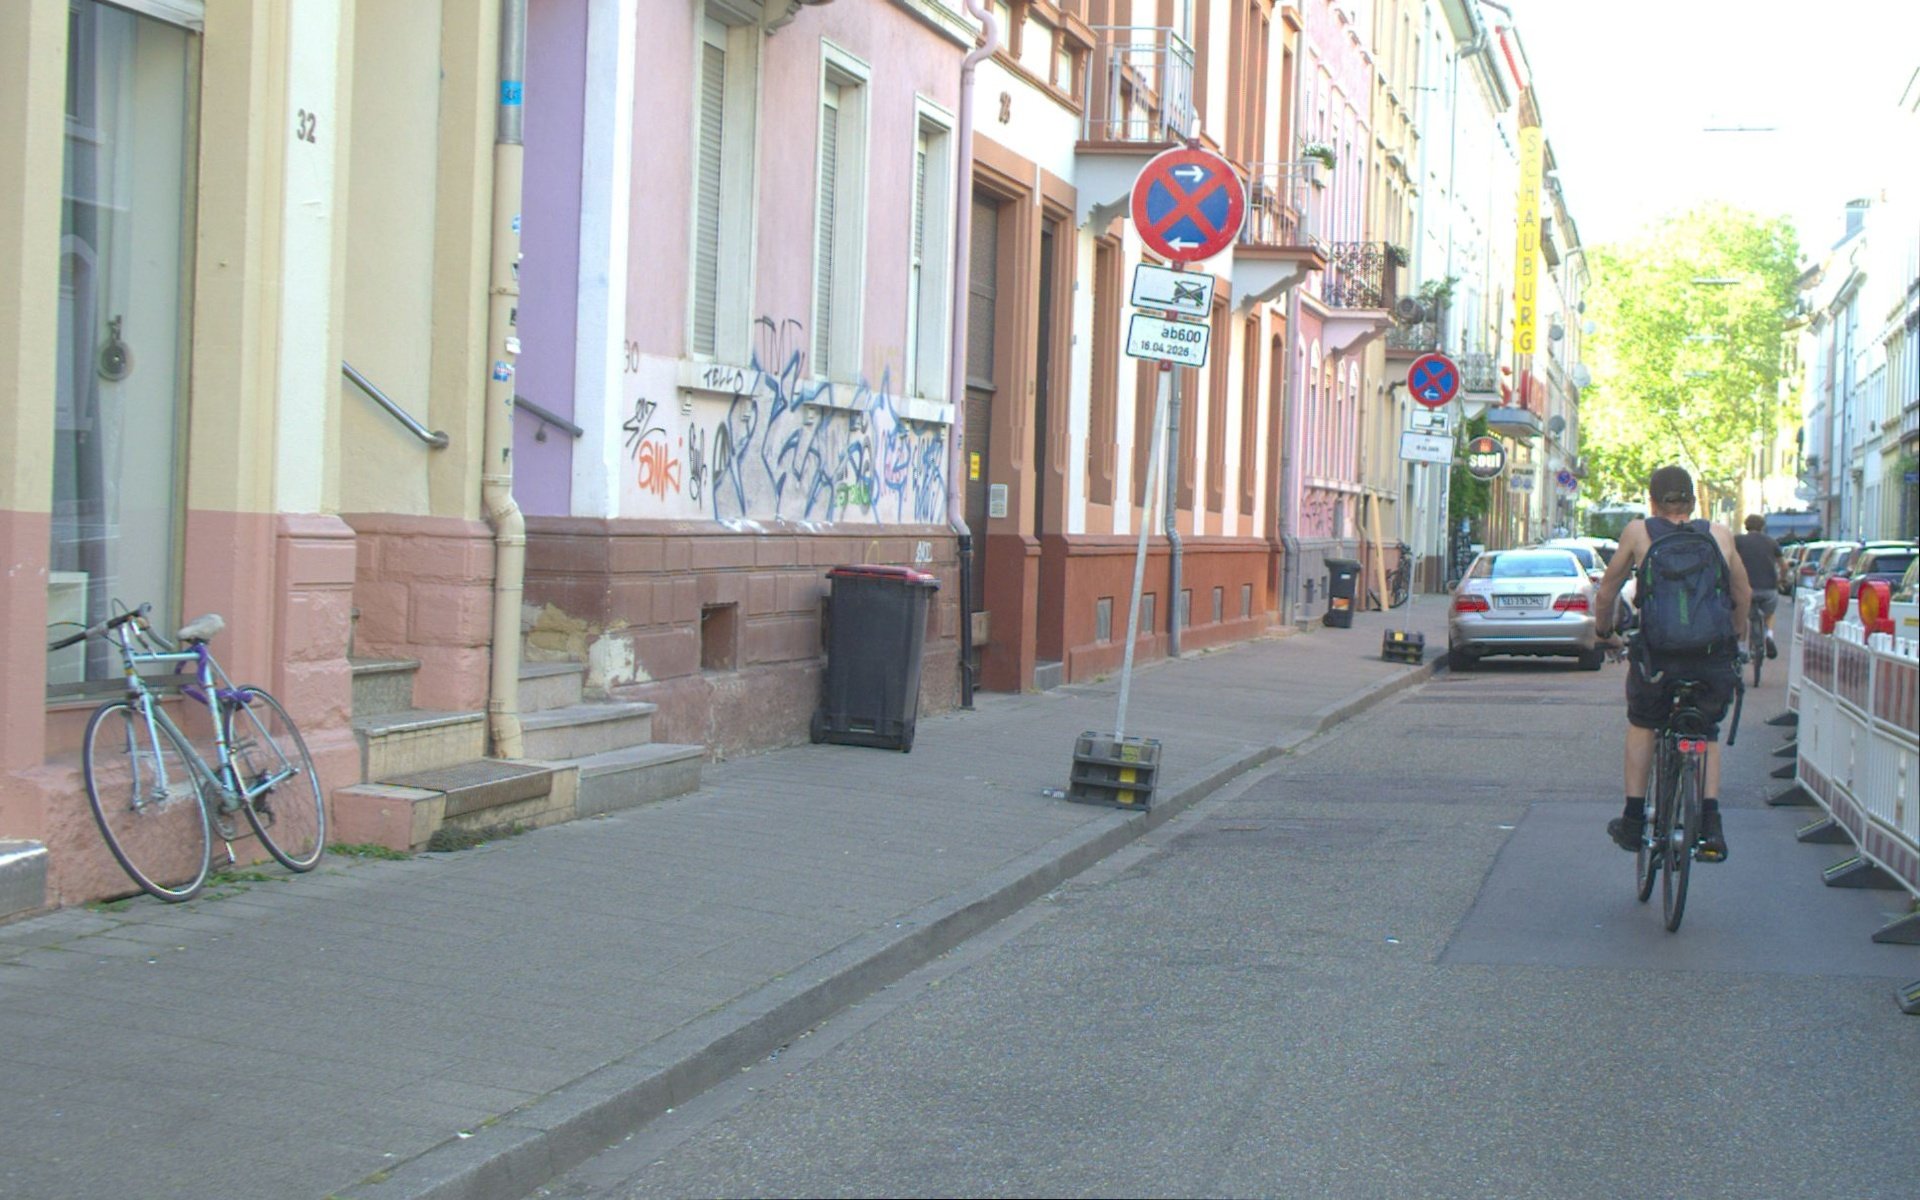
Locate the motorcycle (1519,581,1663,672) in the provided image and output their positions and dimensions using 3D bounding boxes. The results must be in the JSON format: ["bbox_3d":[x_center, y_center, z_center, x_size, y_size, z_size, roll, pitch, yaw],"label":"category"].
[{"bbox_3d":[9.909,0.413,54.013,2.146,1.354,0.540,-1,1,-6],"label":"motorcycle"}]

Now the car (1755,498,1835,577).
[{"bbox_3d":[27.580,-2.026,113.708,2.309,2.529,6.766,0,0,12],"label":"car"}]

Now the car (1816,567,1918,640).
[{"bbox_3d":[17.739,0.054,67.329,1.711,1.378,3.998,0,0,12],"label":"car"}]

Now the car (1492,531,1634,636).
[{"bbox_3d":[8.948,-0.273,50.796,1.712,1.378,4.353,2,2,14],"label":"car"}]

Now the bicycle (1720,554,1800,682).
[{"bbox_3d":[8.151,0.164,35.087,0.702,1.203,2.341,1,2,11],"label":"bicycle"}]

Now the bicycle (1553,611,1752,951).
[{"bbox_3d":[2.769,0.662,13.705,0.702,1.204,2.341,0,1,12],"label":"bicycle"}]

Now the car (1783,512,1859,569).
[{"bbox_3d":[21.744,-1.480,86.922,1.711,1.389,3.998,0,0,12],"label":"car"}]

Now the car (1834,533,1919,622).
[{"bbox_3d":[16.761,-0.417,62.086,1.711,1.551,3.998,0,0,12],"label":"car"}]

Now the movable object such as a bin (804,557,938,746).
[{"bbox_3d":[-0.508,0.285,19.692,0.606,1.032,0.596,3,1,11],"label":"movable object such as a bin"}]

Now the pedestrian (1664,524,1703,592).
[{"bbox_3d":[17.172,-0.992,81.597,0.771,1.573,0.900,3,1,9],"label":"pedestrian"}]

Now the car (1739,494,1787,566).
[{"bbox_3d":[43.130,-3.727,184.768,2.309,3.755,6.766,0,0,12],"label":"car"}]

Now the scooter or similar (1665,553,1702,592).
[{"bbox_3d":[17.065,-0.642,81.061,0.771,0.869,0.770,3,1,9],"label":"scooter or similar"}]

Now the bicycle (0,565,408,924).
[{"bbox_3d":[-2.470,0.425,11.273,0.622,1.019,1.817,4,2,12],"label":"bicycle"}]

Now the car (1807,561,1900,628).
[{"bbox_3d":[18.854,-0.134,72.662,1.711,1.378,3.998,0,0,12],"label":"car"}]

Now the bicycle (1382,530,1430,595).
[{"bbox_3d":[7.710,-0.647,59.365,0.593,1.085,2.078,3,1,12],"label":"bicycle"}]

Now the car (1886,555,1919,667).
[{"bbox_3d":[13.590,0.119,46.409,1.818,1.433,4.788,0,0,12],"label":"car"}]

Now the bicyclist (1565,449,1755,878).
[{"bbox_3d":[2.775,0.233,13.622,0.702,1.627,1.089,0,0,12],"label":"bicyclist"}]

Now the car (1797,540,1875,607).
[{"bbox_3d":[20.855,-0.633,81.919,1.621,1.545,3.998,0,0,12],"label":"car"}]

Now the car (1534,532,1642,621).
[{"bbox_3d":[10.502,-0.393,57.346,1.673,1.437,4.163,0,0,12],"label":"car"}]

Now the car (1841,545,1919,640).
[{"bbox_3d":[15.554,-0.139,56.632,1.818,1.516,3.998,0,0,12],"label":"car"}]

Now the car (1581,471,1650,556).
[{"bbox_3d":[19.728,-2.600,103.584,1.910,2.488,4.164,1,1,10],"label":"car"}]

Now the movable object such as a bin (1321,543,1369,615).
[{"bbox_3d":[5.210,-0.280,46.560,0.544,0.941,0.487,3,1,13],"label":"movable object such as a bin"}]

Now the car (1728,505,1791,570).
[{"bbox_3d":[32.213,-2.484,138.688,2.309,2.529,6.766,0,0,12],"label":"car"}]

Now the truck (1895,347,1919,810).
[{"bbox_3d":[6.602,-0.115,18.162,2.663,2.804,7.389,3,1,12],"label":"truck"}]

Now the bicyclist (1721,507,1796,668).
[{"bbox_3d":[8.143,-0.138,35.082,0.702,1.599,0.812,1,2,11],"label":"bicyclist"}]

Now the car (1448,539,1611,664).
[{"bbox_3d":[6.732,-0.002,40.333,1.711,1.378,4.503,0,0,12],"label":"car"}]
